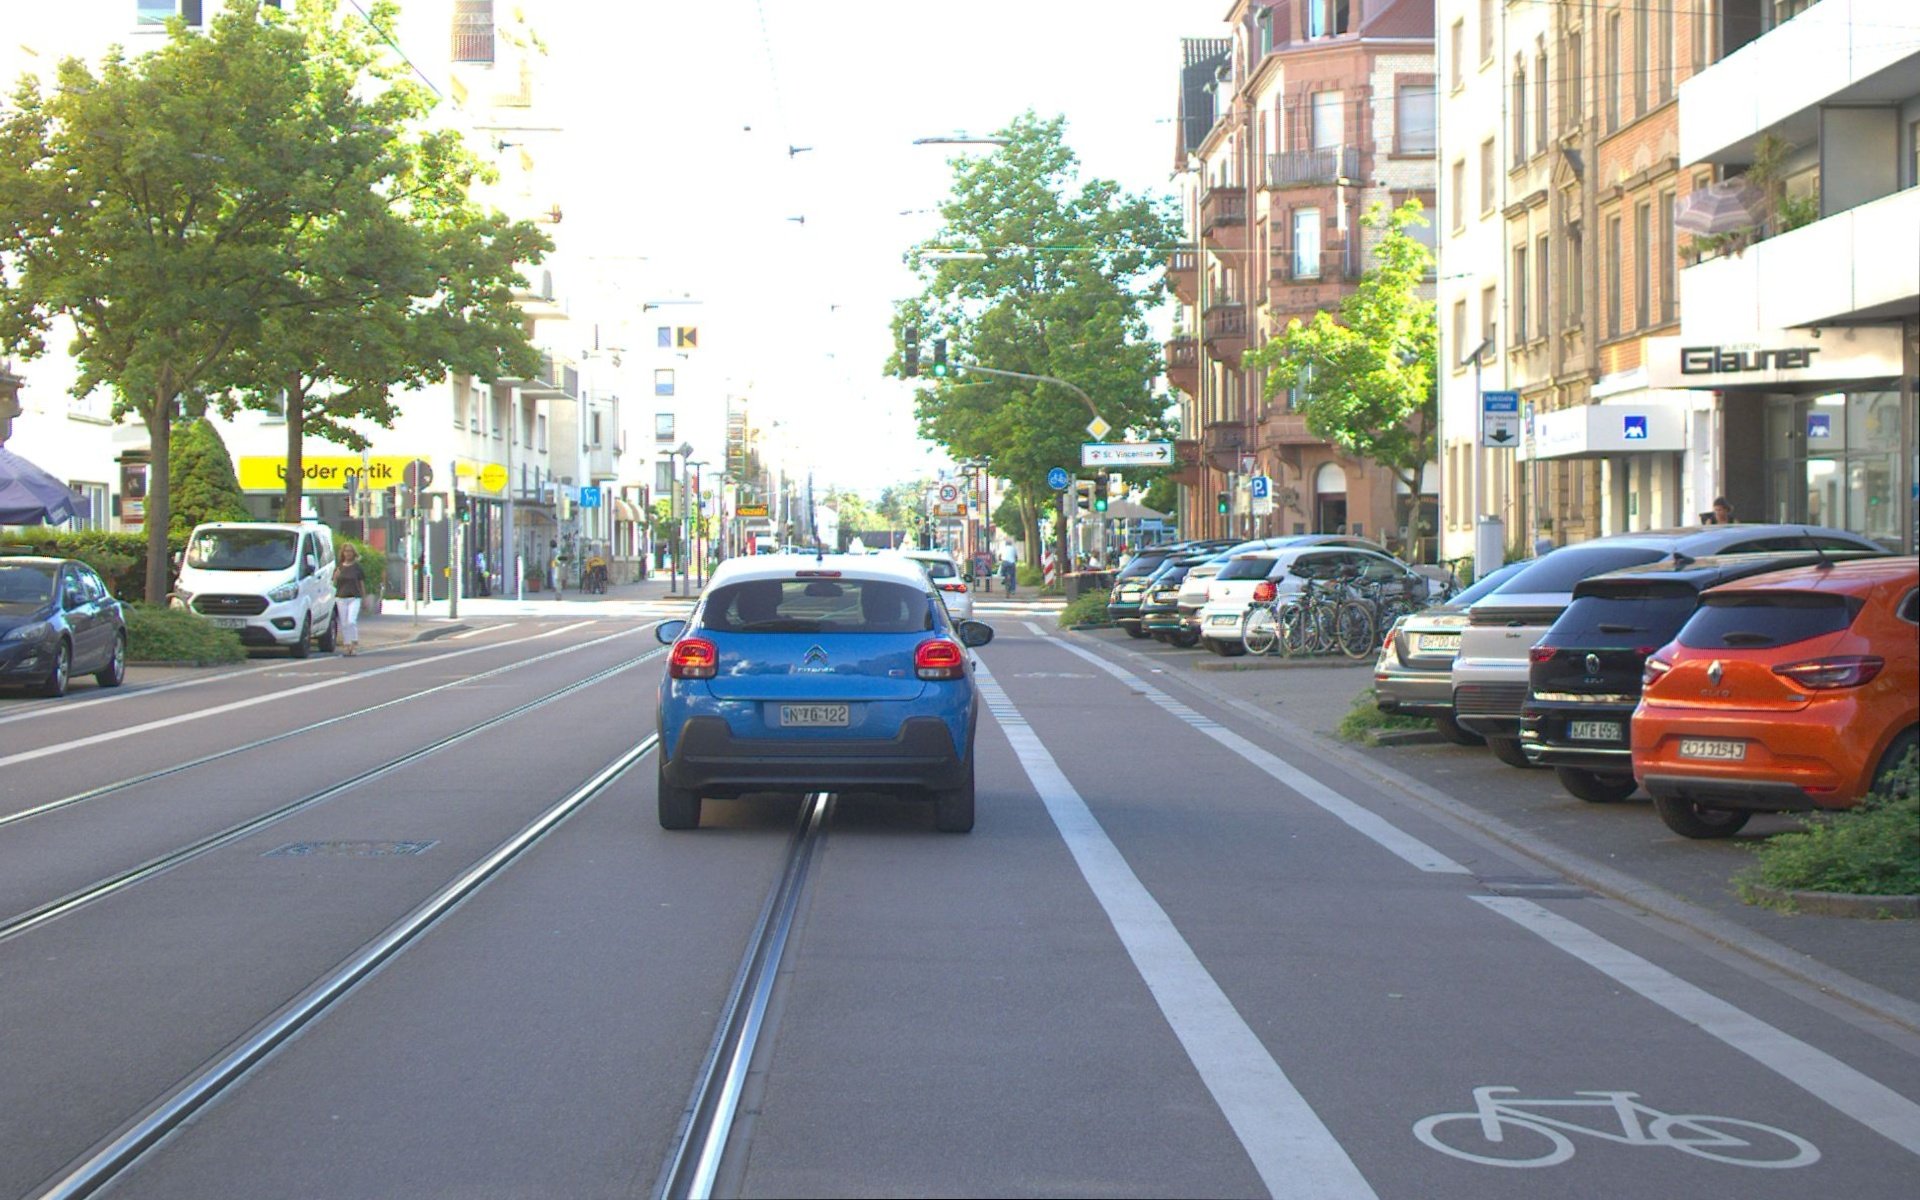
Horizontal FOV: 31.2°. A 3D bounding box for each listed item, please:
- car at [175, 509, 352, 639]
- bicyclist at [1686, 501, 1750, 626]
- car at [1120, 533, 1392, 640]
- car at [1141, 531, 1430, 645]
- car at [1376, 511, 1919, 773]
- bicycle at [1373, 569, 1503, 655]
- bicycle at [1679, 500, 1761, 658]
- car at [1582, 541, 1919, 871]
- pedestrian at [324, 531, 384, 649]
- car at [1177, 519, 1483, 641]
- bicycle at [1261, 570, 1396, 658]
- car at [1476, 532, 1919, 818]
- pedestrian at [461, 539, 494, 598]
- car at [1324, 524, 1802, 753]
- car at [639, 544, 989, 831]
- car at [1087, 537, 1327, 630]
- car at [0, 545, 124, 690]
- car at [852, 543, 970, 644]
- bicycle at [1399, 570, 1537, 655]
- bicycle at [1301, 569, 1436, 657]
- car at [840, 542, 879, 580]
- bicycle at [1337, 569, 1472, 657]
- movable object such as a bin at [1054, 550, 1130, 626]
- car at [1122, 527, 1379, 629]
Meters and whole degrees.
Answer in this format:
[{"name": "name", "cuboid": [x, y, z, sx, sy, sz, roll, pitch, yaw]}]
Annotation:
[{"name": "car", "cuboid": [-10.375, -0.393, 51.463, 1.831, 1.841, 4.214, 1, 1, -1]}, {"name": "bicyclist", "cuboid": [9.945, -0.481, 45.102, 0.732, 1.617, 0.528, 1, 0, 5]}, {"name": "car", "cuboid": [4.474, -0.207, 52.061, 3.653, 1.568, 1.861, 0, 1, -20]}, {"name": "car", "cuboid": [4.633, -0.164, 49.069, 3.653, 1.568, 1.861, 0, 1, -20]}, {"name": "car", "cuboid": [4.944, 0.256, 23.478, 3.718, 1.646, 2.048, 0, 1, -33]}, {"name": "bicycle", "cuboid": [5.965, 0.145, 42.986, 0.468, 1.044, 1.807, 0, 1, -37]}, {"name": "bicycle", "cuboid": [9.938, -0.280, 45.026, 0.728, 2.007, 2.358, 1, 1, 5]}, {"name": "car", "cuboid": [5.260, 0.479, 17.656, 3.718, 1.515, 1.968, 0, 1, -33]}, {"name": "pedestrian", "cuboid": [-8.909, -0.143, 50.539, 0.729, 1.720, 0.628, 0, 0, -25]}, {"name": "car", "cuboid": [4.949, -0.259, 45.944, 3.653, 1.568, 1.861, 0, 1, -29]}, {"name": "bicycle", "cuboid": [4.486, 0.163, 41.913, 0.553, 1.044, 1.807, 0, 1, -36]}, {"name": "car", "cuboid": [4.972, 0.400, 20.302, 3.441, 1.550, 1.824, 0, 1, -32]}, {"name": "pedestrian", "cuboid": [-14.484, -0.950, 103.172, 0.944, 1.745, 0.700, 1, 0, -5]}, {"name": "car", "cuboid": [4.630, 0.269, 26.235, 3.442, 1.634, 1.684, 0, 1, -37]}, {"name": "car", "cuboid": [-0.777, 0.425, 19.240, 1.762, 1.436, 3.557, 1, 1, -1]}, {"name": "car", "cuboid": [4.209, -0.285, 58.618, 3.653, 1.529, 1.789, 0, 1, -20]}, {"name": "car", "cuboid": [-10.251, 0.150, 37.028, 1.747, 1.482, 4.043, 1, 1, -4]}, {"name": "car", "cuboid": [-0.795, -0.132, 56.843, 1.873, 1.590, 4.000, 1, 1, 0]}, {"name": "bicycle", "cuboid": [6.406, 0.150, 43.411, 0.553, 1.044, 1.807, 0, 1, -39]}, {"name": "bicycle", "cuboid": [5.010, 0.148, 42.274, 0.553, 1.044, 1.807, 0, 1, -36]}, {"name": "car", "cuboid": [-3.903, -1.516, 133.731, 1.423, 1.427, 3.139, 1, 1, 0]}, {"name": "bicycle", "cuboid": [5.507, 0.153, 42.656, 0.553, 1.044, 1.807, 0, 1, -36]}, {"name": "movable object such as a bin", "cuboid": [2.601, -0.242, 67.908, 1.394, 1.478, 1.655, 1, 1, -1]}, {"name": "car", "cuboid": [4.655, -0.352, 55.233, 3.653, 1.568, 1.861, 0, 1, -20]}]
